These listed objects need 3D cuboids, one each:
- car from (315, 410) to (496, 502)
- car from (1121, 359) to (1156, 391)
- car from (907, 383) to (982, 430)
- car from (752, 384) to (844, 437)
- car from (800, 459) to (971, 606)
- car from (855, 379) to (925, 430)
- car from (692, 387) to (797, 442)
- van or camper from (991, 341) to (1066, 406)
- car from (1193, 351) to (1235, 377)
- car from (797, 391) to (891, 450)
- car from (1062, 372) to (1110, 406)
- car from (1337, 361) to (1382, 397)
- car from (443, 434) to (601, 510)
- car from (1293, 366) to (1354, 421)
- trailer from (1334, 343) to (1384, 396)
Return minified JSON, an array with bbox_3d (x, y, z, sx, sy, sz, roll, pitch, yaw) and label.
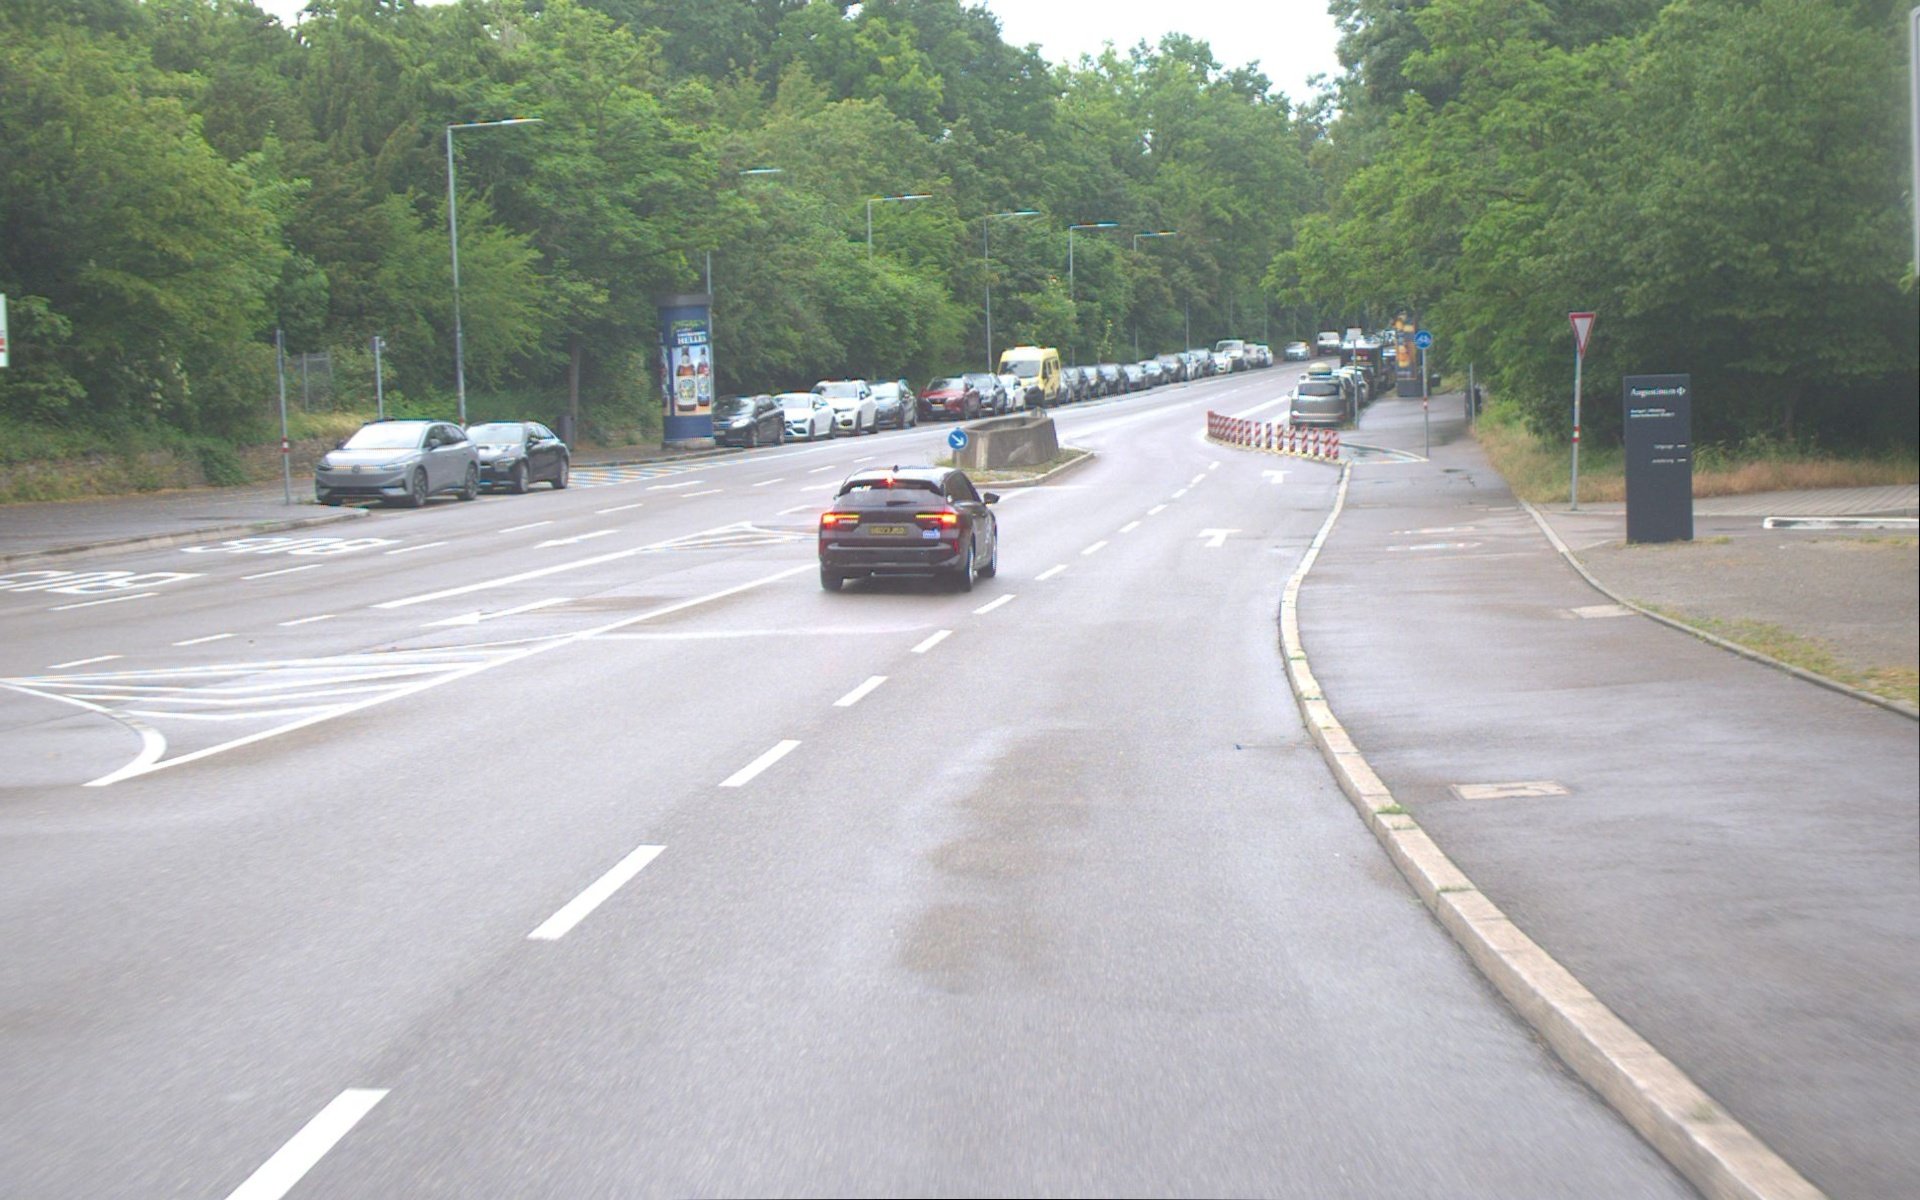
[{"bbox_3d":[-10.244,-2.711,63.905,1.841,1.583,4.928,1,4,10],"label":"car"},{"bbox_3d":[9.282,-11.691,178.548,1.461,1.565,2.984,-1,5,10],"label":"car"},{"bbox_3d":[-0.548,-7.237,128.495,1.920,1.611,4.489,-1,4,11],"label":"car"},{"bbox_3d":[-4.882,-5.775,104.300,1.719,1.455,4.707,0,5,11],"label":"car"},{"bbox_3d":[-0.839,-0.850,40.913,1.881,1.460,4.001,1,5,1],"label":"car"},{"bbox_3d":[-2.373,-6.689,117.225,1.731,1.643,4.571,0,4,7],"label":"car"},{"bbox_3d":[-6.140,-5.315,98.402,1.750,1.440,4.585,0,5,13],"label":"car"},{"bbox_3d":[2.937,-9.613,145.738,2.144,2.617,5.681,0,5,12],"label":"van or camper"},{"bbox_3d":[15.361,-14.259,207.352,1.994,1.483,4.467,0,5,11],"label":"car"},{"bbox_3d":[-3.687,-5.774,110.298,1.994,1.759,4.959,0,4,10],"label":"car"},{"bbox_3d":[5.935,-9.934,161.617,1.603,1.504,3.976,0,5,12],"label":"car"},{"bbox_3d":[16.986,-9.383,145.934,1.822,1.480,4.199,0,4,8],"label":"car"},{"bbox_3d":[-8.876,-2.631,70.074,1.907,1.409,4.782,1,4,10],"label":"car"},{"bbox_3d":[11.057,-6.312,104.629,1.822,1.609,4.252,0,4,6],"label":"car"},{"bbox_3d":[17.748,-10.255,152.711,1.907,2.239,4.767,0,5,10],"label":"trailer"}]
